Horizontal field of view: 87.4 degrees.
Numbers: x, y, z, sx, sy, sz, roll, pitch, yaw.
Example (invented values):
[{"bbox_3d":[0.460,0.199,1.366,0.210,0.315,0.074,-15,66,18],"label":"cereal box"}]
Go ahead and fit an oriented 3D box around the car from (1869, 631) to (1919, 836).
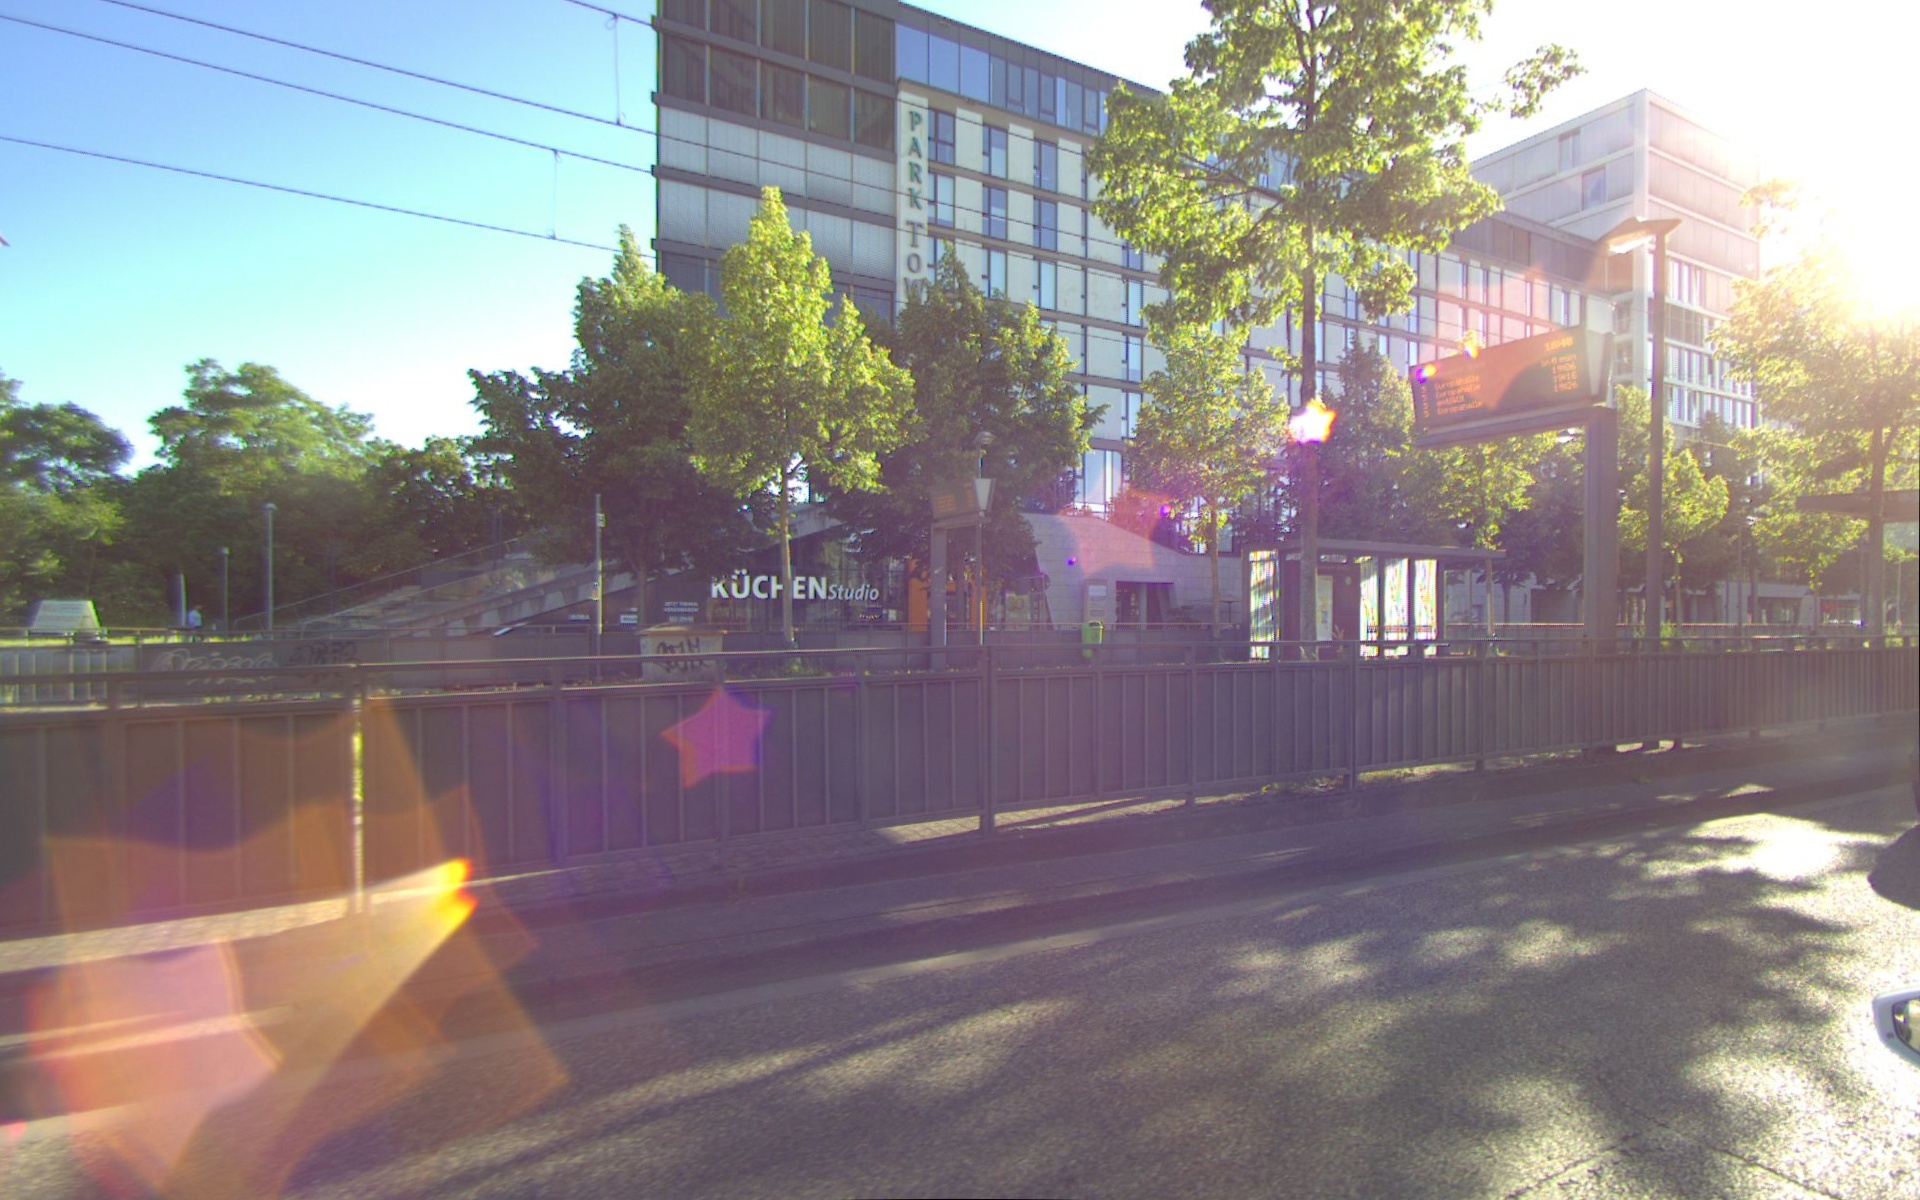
[{"bbox_3d":[8.590,0.957,7.311,4.095,1.384,1.713,2,-1,-29],"label":"car"}]
